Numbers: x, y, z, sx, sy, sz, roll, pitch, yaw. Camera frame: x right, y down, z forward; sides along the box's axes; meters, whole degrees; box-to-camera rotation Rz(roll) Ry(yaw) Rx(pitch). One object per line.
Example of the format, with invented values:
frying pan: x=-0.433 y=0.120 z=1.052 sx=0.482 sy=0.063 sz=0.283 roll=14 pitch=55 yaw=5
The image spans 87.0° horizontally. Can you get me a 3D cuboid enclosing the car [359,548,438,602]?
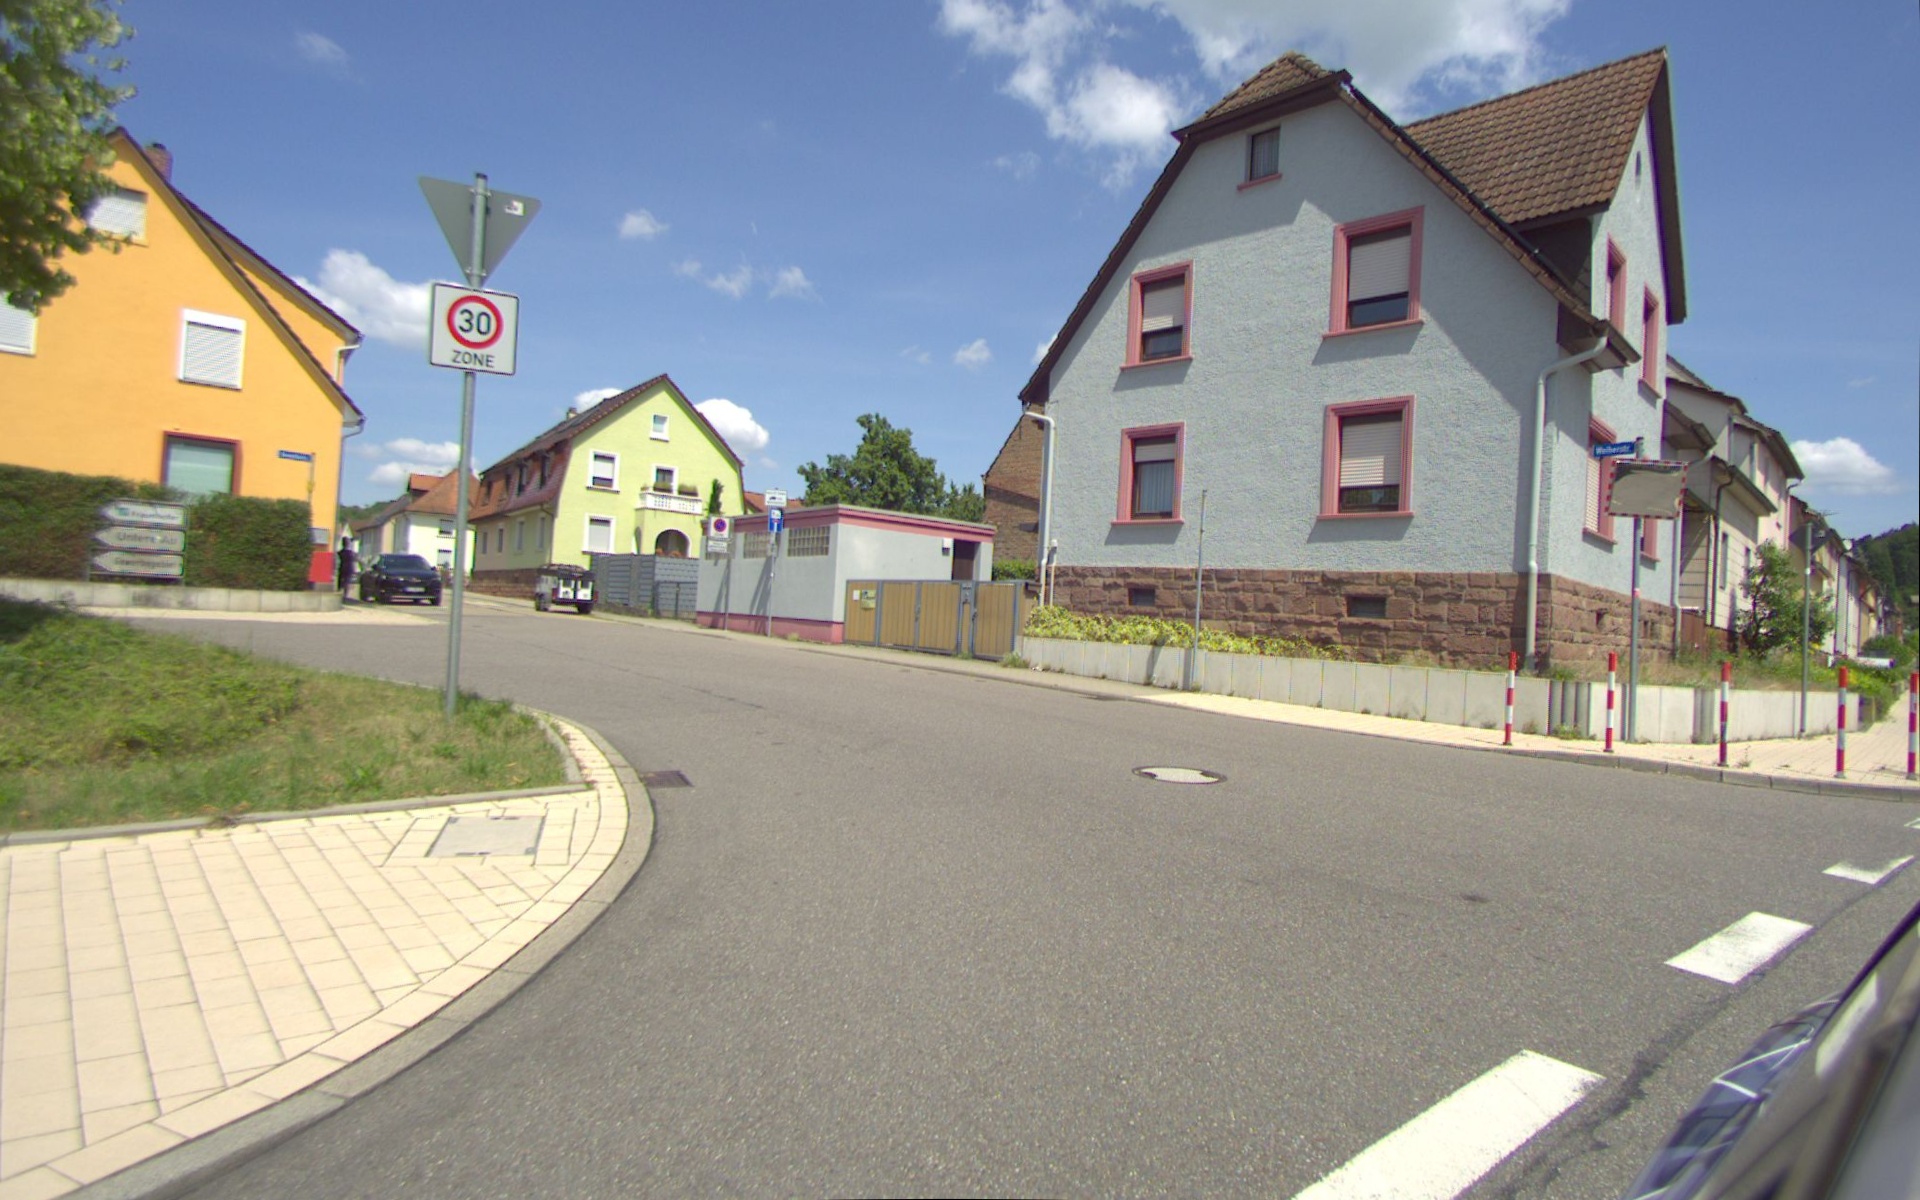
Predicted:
car: x=-17.992 y=-0.757 z=32.369 sx=1.613 sy=1.559 sz=3.997 roll=3 pitch=-1 yaw=-37

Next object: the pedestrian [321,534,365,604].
pedestrian: x=-16.750 y=-0.837 z=27.461 sx=0.678 sy=1.770 sz=0.874 roll=10 pitch=-5 yaw=-38

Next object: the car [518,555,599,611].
car: x=-14.300 y=-0.581 z=35.947 sx=1.613 sy=1.851 sz=3.997 roll=3 pitch=-1 yaw=-37

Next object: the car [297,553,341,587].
car: x=-34.037 y=-1.554 z=53.684 sx=1.613 sy=1.646 sz=3.794 roll=3 pitch=-1 yaw=-37
